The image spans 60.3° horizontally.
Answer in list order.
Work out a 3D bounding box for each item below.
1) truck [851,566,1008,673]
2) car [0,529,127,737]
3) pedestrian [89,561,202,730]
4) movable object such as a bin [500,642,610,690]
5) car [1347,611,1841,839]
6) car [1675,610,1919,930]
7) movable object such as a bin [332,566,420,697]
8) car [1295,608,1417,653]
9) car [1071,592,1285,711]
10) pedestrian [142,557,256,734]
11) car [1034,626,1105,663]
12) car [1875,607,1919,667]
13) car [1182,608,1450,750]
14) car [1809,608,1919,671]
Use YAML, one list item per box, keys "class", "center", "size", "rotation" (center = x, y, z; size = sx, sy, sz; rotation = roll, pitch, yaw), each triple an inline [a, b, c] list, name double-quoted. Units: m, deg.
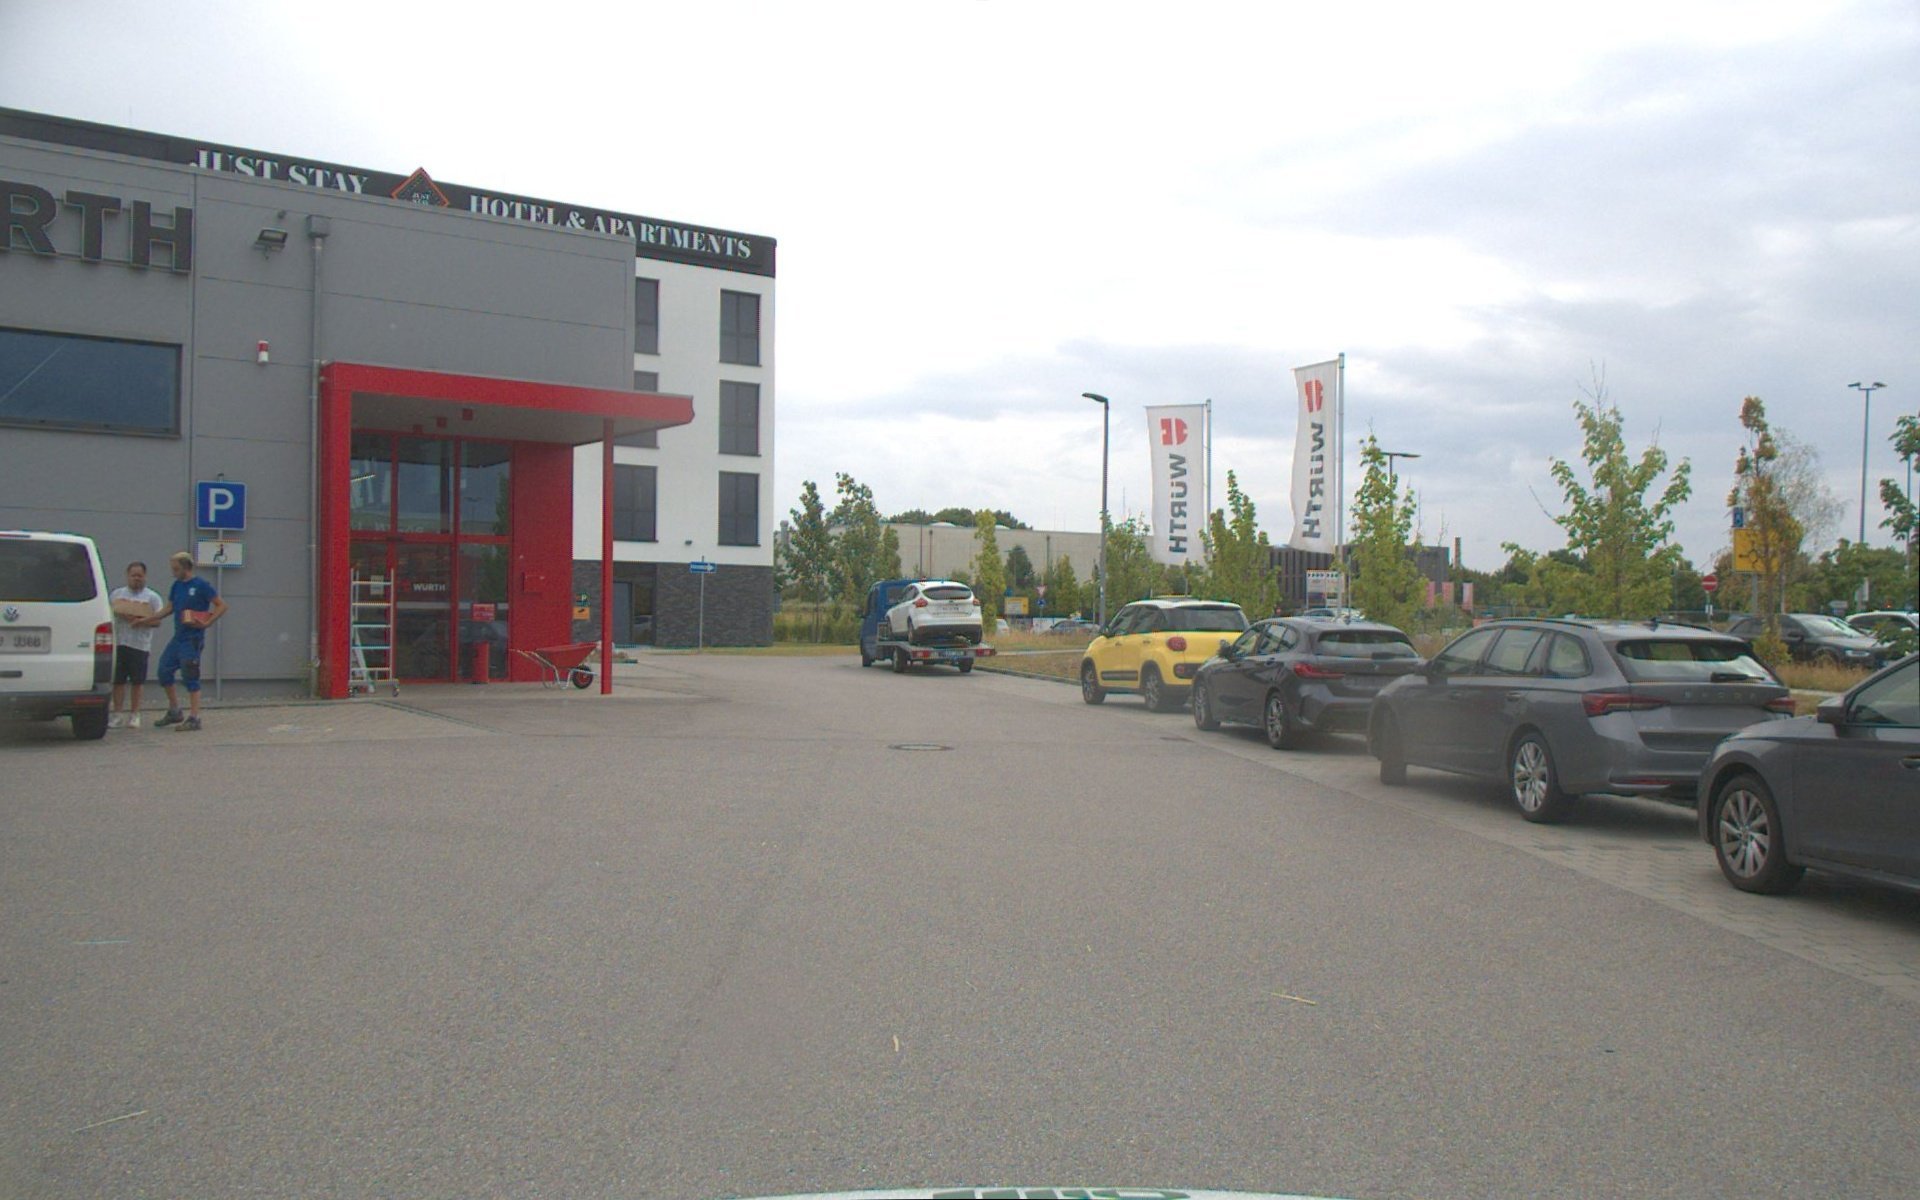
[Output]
- class: "truck"
  center: [-0.951, 0.504, 42.133]
  size: [2.292, 2.448, 7.866]
  rotation: [0, -1, -14]
- class: "car"
  center: [-9.817, 0.320, 16.648]
  size: [2.037, 1.888, 4.012]
  rotation: [-1, 0, -34]
- class: "pedestrian"
  center: [-8.811, 0.479, 17.906]
  size: [0.612, 1.782, 0.904]
  rotation: [0, -1, 28]
- class: "movable object such as a bin"
  center: [-6.381, 1.041, 26.058]
  size: [1.472, 0.716, 0.955]
  rotation: [2, -1, -30]
- class: "car"
  center: [4.817, 0.858, 13.359]
  size: [1.719, 1.495, 4.466]
  rotation: [1, 0, -9]
- class: "car"
  center: [5.373, 0.811, 7.726]
  size: [1.718, 1.495, 4.469]
  rotation: [1, 0, -7]
- class: "movable object such as a bin"
  center: [-7.859, 0.411, 22.261]
  size: [0.903, 1.701, 0.734]
  rotation: [-3, 1, -35]
- class: "car"
  center: [13.231, 1.002, 55.576]
  size: [1.738, 1.419, 4.529]
  rotation: [0, 0, -21]
- class: "car"
  center: [3.315, 0.782, 25.943]
  size: [1.827, 1.679, 3.980]
  rotation: [2, -1, -17]
- class: "pedestrian"
  center: [-8.138, 0.471, 17.710]
  size: [0.664, 1.834, 0.879]
  rotation: [0, 0, 29]
- class: "car"
  center: [5.834, 2.365, 88.529]
  size: [1.971, 1.892, 3.962]
  rotation: [-1, 0, -29]
- class: "car"
  center: [25.372, 0.939, 41.974]
  size: [1.626, 1.485, 3.910]
  rotation: [-1, 0, -11]
- class: "car"
  center: [4.060, 0.854, 19.573]
  size: [1.719, 1.495, 4.098]
  rotation: [1, 0, -9]
- class: "car"
  center: [22.324, 0.906, 38.500]
  size: [1.739, 1.419, 4.525]
  rotation: [0, 0, -23]
